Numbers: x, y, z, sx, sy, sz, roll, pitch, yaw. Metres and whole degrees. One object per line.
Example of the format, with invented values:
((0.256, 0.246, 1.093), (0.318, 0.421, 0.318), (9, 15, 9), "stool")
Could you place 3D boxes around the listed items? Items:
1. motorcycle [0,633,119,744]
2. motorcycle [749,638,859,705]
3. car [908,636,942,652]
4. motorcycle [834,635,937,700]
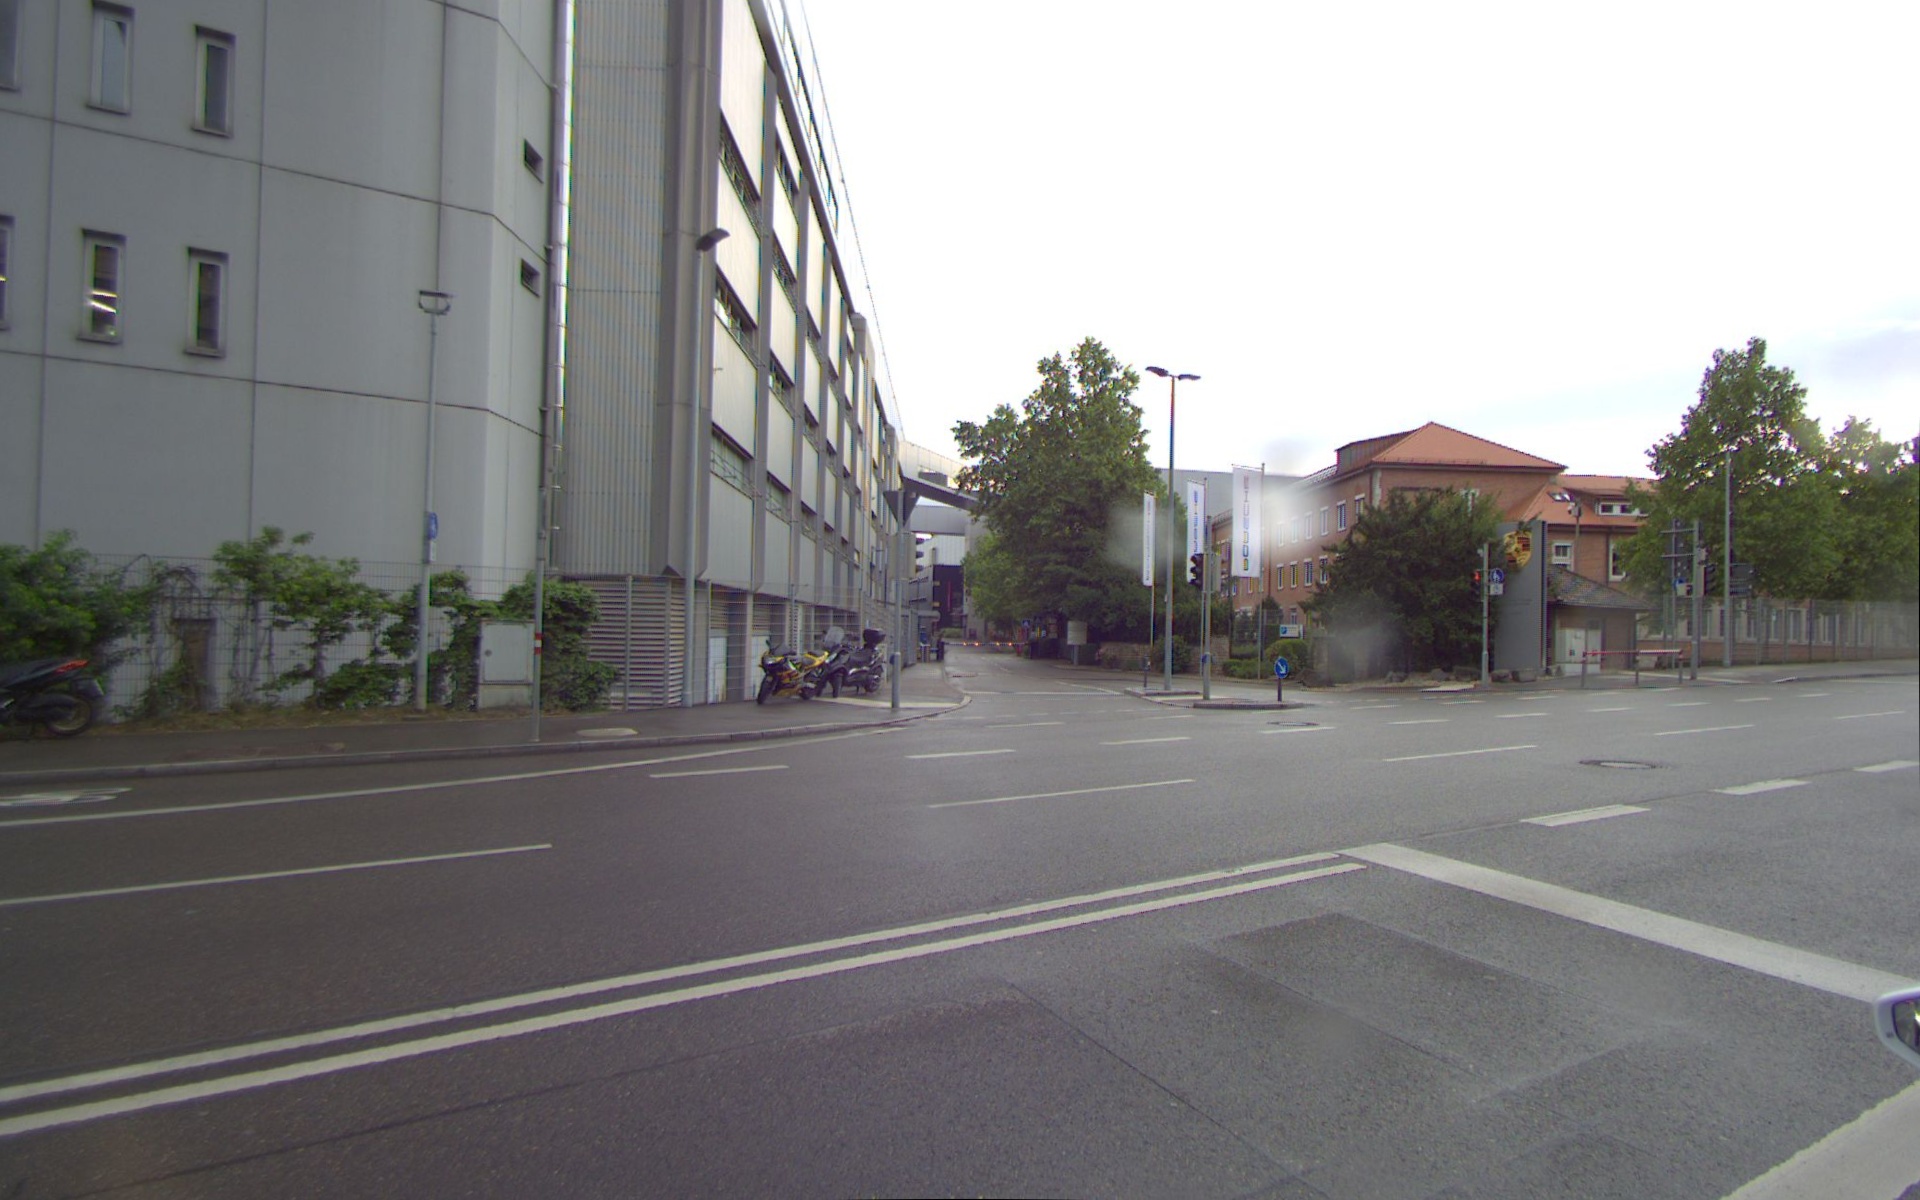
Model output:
((-11.345, 1.025, 11.793), (2.133, 1.263, 0.780), (2, -2, -32), "motorcycle")
((-3.075, 1.385, 20.091), (0.759, 1.234, 2.504), (0, -2, 30), "motorcycle")
((-4.613, 5.762, 131.373), (3.914, 1.849, 1.955), (2, 0, -31), "car")
((-1.622, 1.463, 22.527), (1.008, 1.355, 2.772), (-1, -2, 27), "motorcycle")
